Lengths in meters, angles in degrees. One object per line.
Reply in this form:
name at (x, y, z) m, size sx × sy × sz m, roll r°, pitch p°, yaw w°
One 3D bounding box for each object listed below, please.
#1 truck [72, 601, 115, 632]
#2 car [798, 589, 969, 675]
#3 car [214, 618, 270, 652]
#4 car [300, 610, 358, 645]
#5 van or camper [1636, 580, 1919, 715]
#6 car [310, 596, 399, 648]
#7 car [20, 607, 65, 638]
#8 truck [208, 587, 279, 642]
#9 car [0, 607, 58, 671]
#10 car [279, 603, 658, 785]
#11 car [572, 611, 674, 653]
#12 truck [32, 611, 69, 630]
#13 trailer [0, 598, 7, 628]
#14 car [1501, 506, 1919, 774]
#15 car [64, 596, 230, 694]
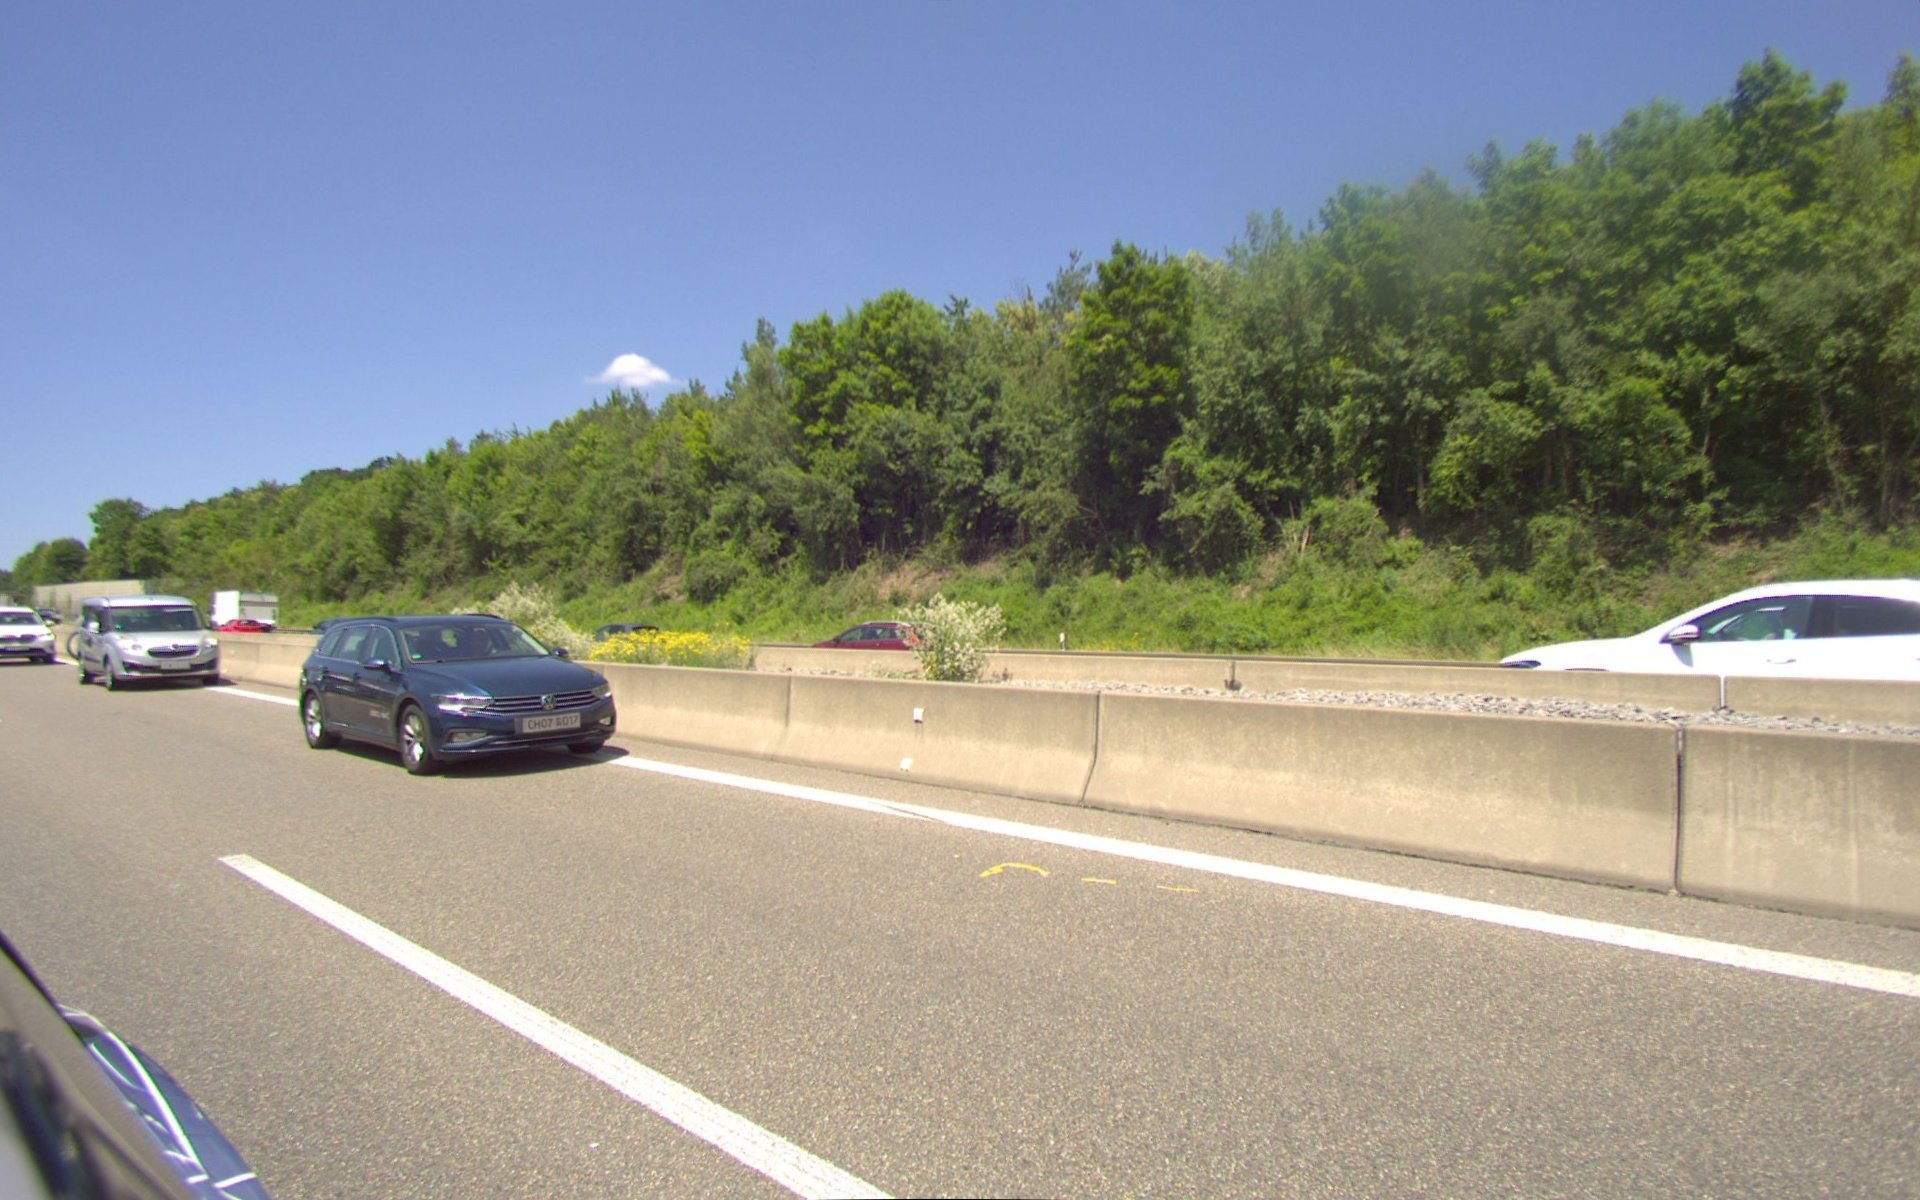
truck at (-84.569, 1.575, 98.761) m, size 6.738 × 2.906 × 2.155 m, roll 0°, pitch 0°, yaw 41°
car at (-2.026, 0.741, 25.950) m, size 4.281 × 2.029 × 1.972 m, roll 0°, pitch 0°, yaw 42°
car at (-45.746, 2.209, 64.437) m, size 3.997 × 2.029 × 1.973 m, roll 0°, pitch 0°, yaw 40°
car at (-39.651, 1.691, 63.554) m, size 3.997 × 2.029 × 1.973 m, roll 0°, pitch 0°, yaw 40°
van or camper at (14.114, 0.706, 16.738) m, size 4.679 × 2.029 × 1.972 m, roll 0°, pitch 0°, yaw 42°
car at (-24.774, 0.851, 41.356) m, size 3.998 × 2.029 × 1.973 m, roll 0°, pitch 0°, yaw 41°
car at (-65.018, 1.571, 71.708) m, size 3.999 × 2.029 × 1.972 m, roll 0°, pitch 0°, yaw 42°
truck at (-54.691, 1.050, 77.173) m, size 7.987 × 4.019 × 2.664 m, roll 0°, pitch 0°, yaw 41°
car at (-27.815, 1.080, 29.506) m, size 3.998 × 1.719 × 1.800 m, roll 0°, pitch 0°, yaw 41°
car at (-5.230, 0.773, 10.450) m, size 4.675 × 1.461 × 1.855 m, roll 0°, pitch 0°, yaw 41°
car at (-12.896, 1.175, 38.638) m, size 3.999 × 1.458 × 1.972 m, roll 0°, pitch 0°, yaw 42°
truck at (-105.684, 2.326, 117.613) m, size 6.487 × 2.029 × 2.327 m, roll 0°, pitch 0°, yaw 40°
trailer at (-150.279, 1.994, 156.763) m, size 10.811 × 4.515 × 2.918 m, roll 0°, pitch 0°, yaw 41°
car at (7.307, 0.296, 8.905) m, size 4.190 × 2.029 × 1.973 m, roll 0°, pitch 0°, yaw 40°
car at (-16.776, 0.816, 20.777) m, size 4.915 × 1.786 × 1.833 m, roll 0°, pitch 0°, yaw 41°
